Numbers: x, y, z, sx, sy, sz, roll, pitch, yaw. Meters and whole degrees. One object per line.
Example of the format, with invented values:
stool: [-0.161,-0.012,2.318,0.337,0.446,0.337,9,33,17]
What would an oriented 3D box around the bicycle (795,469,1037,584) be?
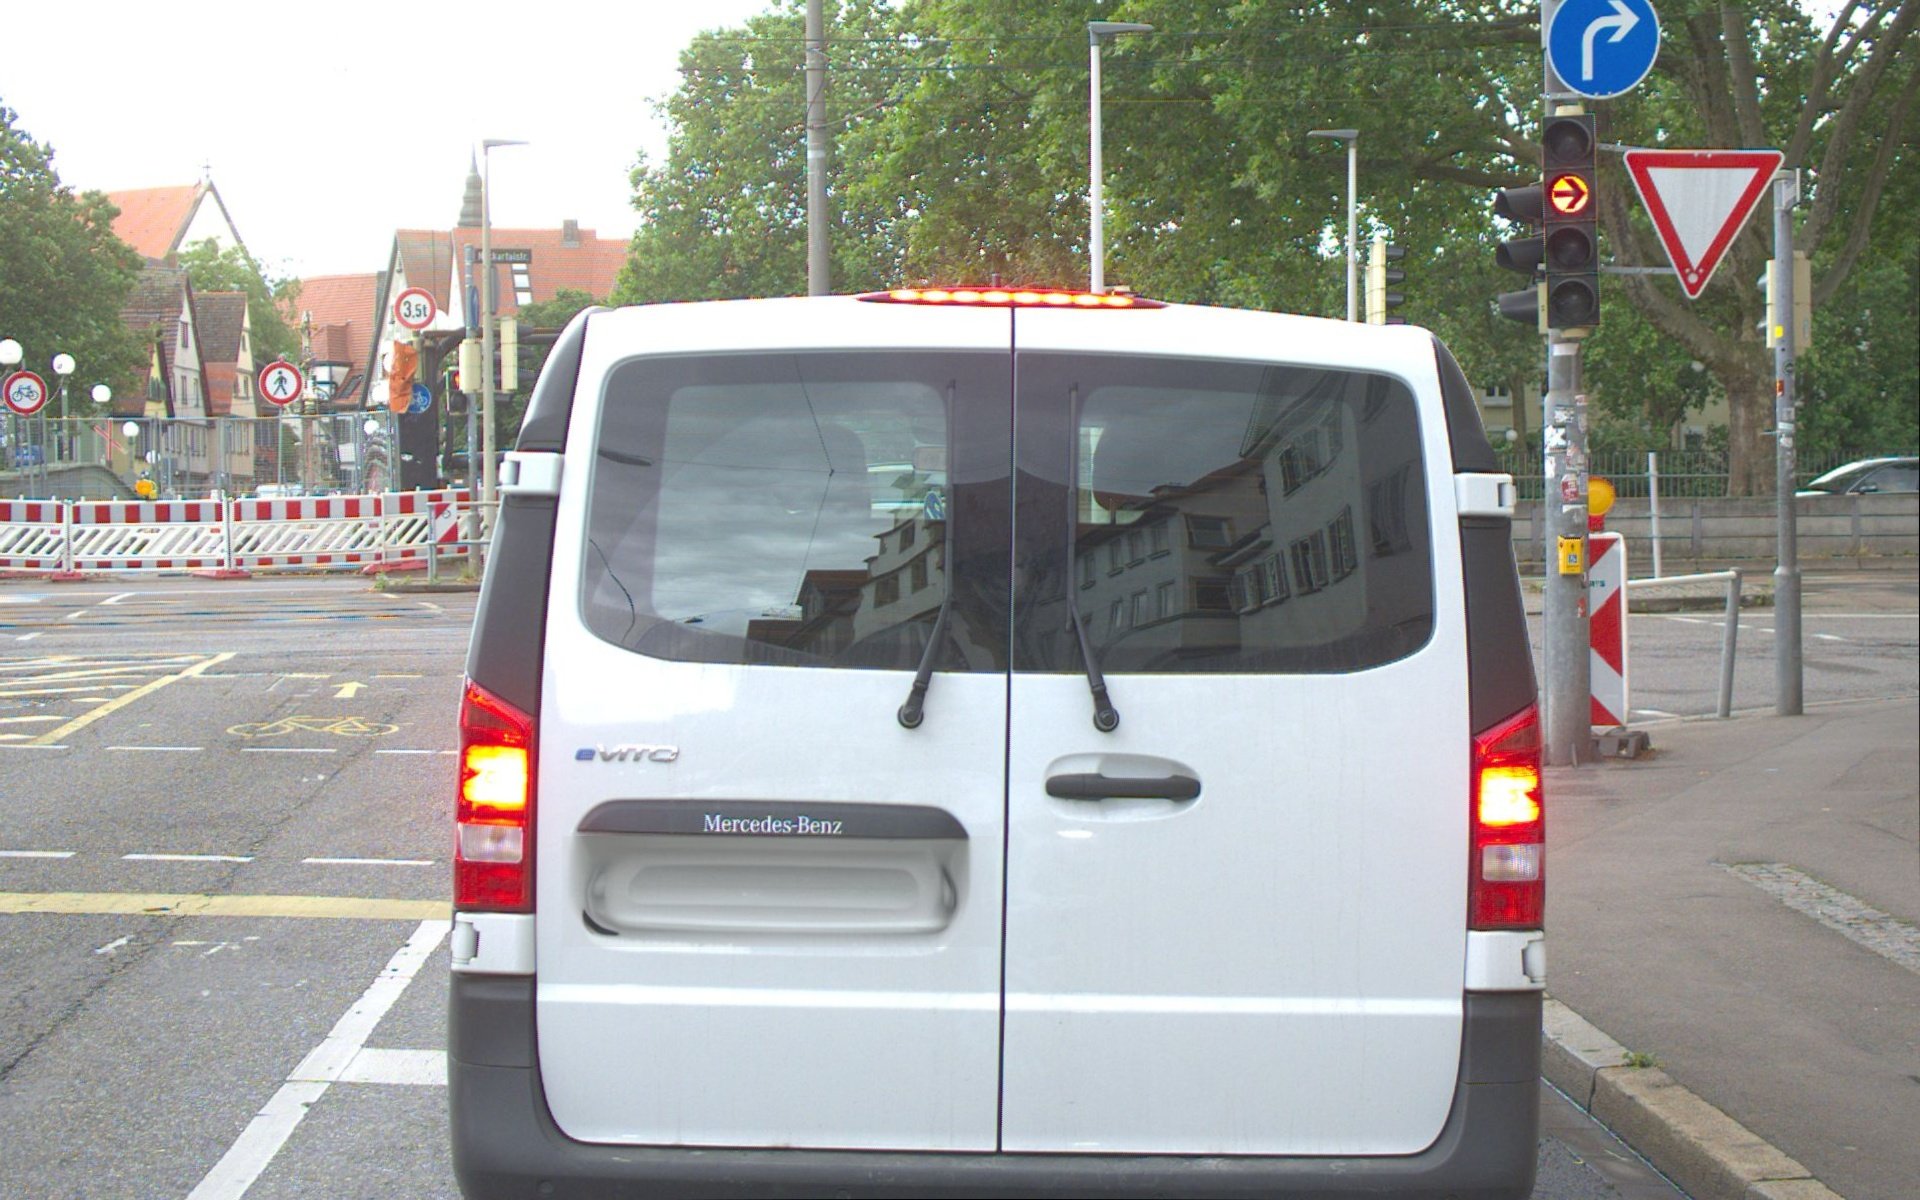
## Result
bicycle: [-0.635,-1.040,48.349,3.144,1.564,1.471,-1,1,-14]

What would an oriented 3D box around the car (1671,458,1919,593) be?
car: [11.748,-0.969,45.815,3.986,1.734,2.000,0,0,-10]

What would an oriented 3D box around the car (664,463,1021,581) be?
car: [-1.516,-0.996,43.665,4.274,1.447,1.900,0,1,-11]

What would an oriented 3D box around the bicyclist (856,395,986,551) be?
bicyclist: [-0.550,-1.773,48.315,1.563,2.148,1.248,-1,1,-14]

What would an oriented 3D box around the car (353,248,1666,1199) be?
car: [0.014,0.330,7.392,1.993,1.916,4.250,1,3,-2]
